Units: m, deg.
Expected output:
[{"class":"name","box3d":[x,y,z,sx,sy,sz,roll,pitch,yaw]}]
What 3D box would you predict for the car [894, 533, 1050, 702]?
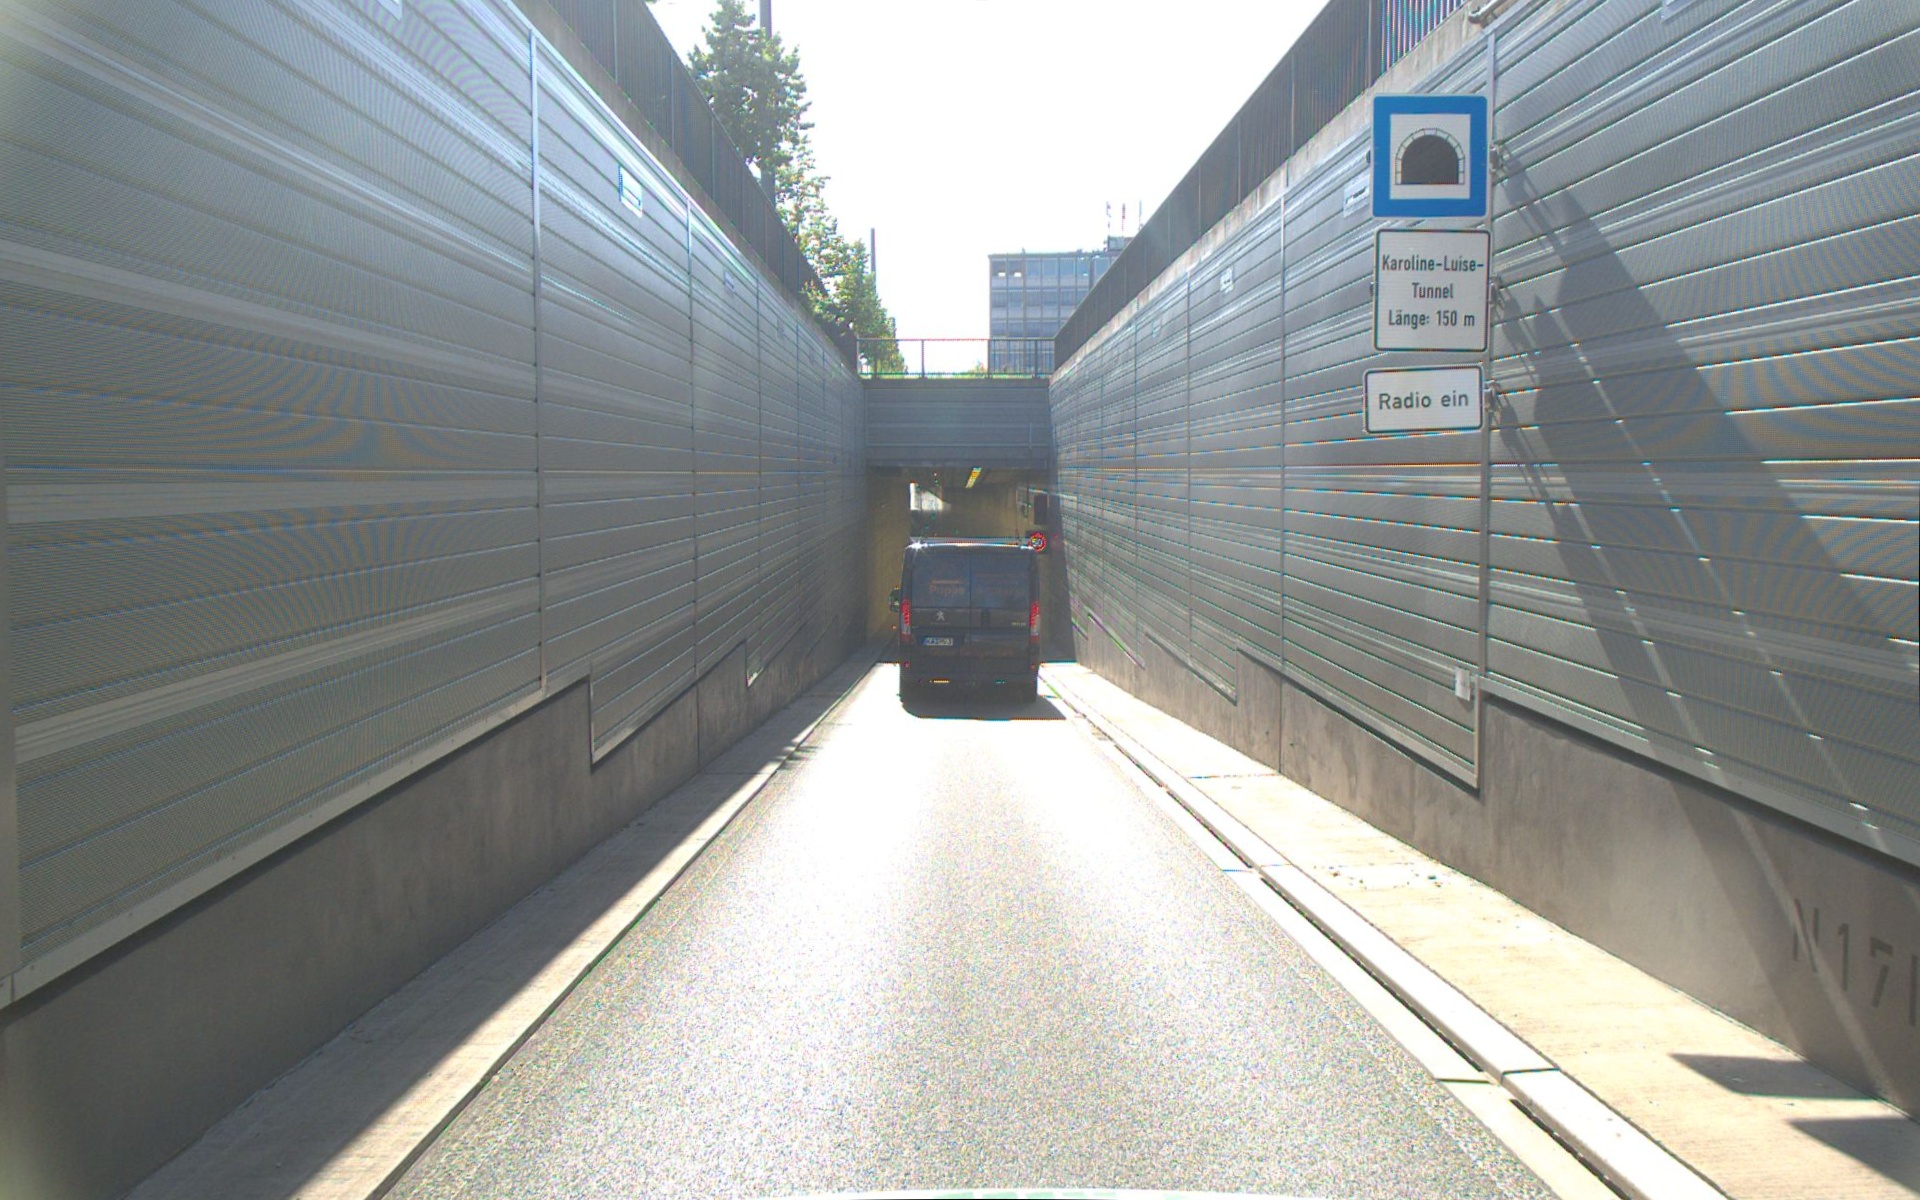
[{"class":"car","box3d":[0.161,0.213,25.012,2.114,2.305,4.636,1,1,0]}]
